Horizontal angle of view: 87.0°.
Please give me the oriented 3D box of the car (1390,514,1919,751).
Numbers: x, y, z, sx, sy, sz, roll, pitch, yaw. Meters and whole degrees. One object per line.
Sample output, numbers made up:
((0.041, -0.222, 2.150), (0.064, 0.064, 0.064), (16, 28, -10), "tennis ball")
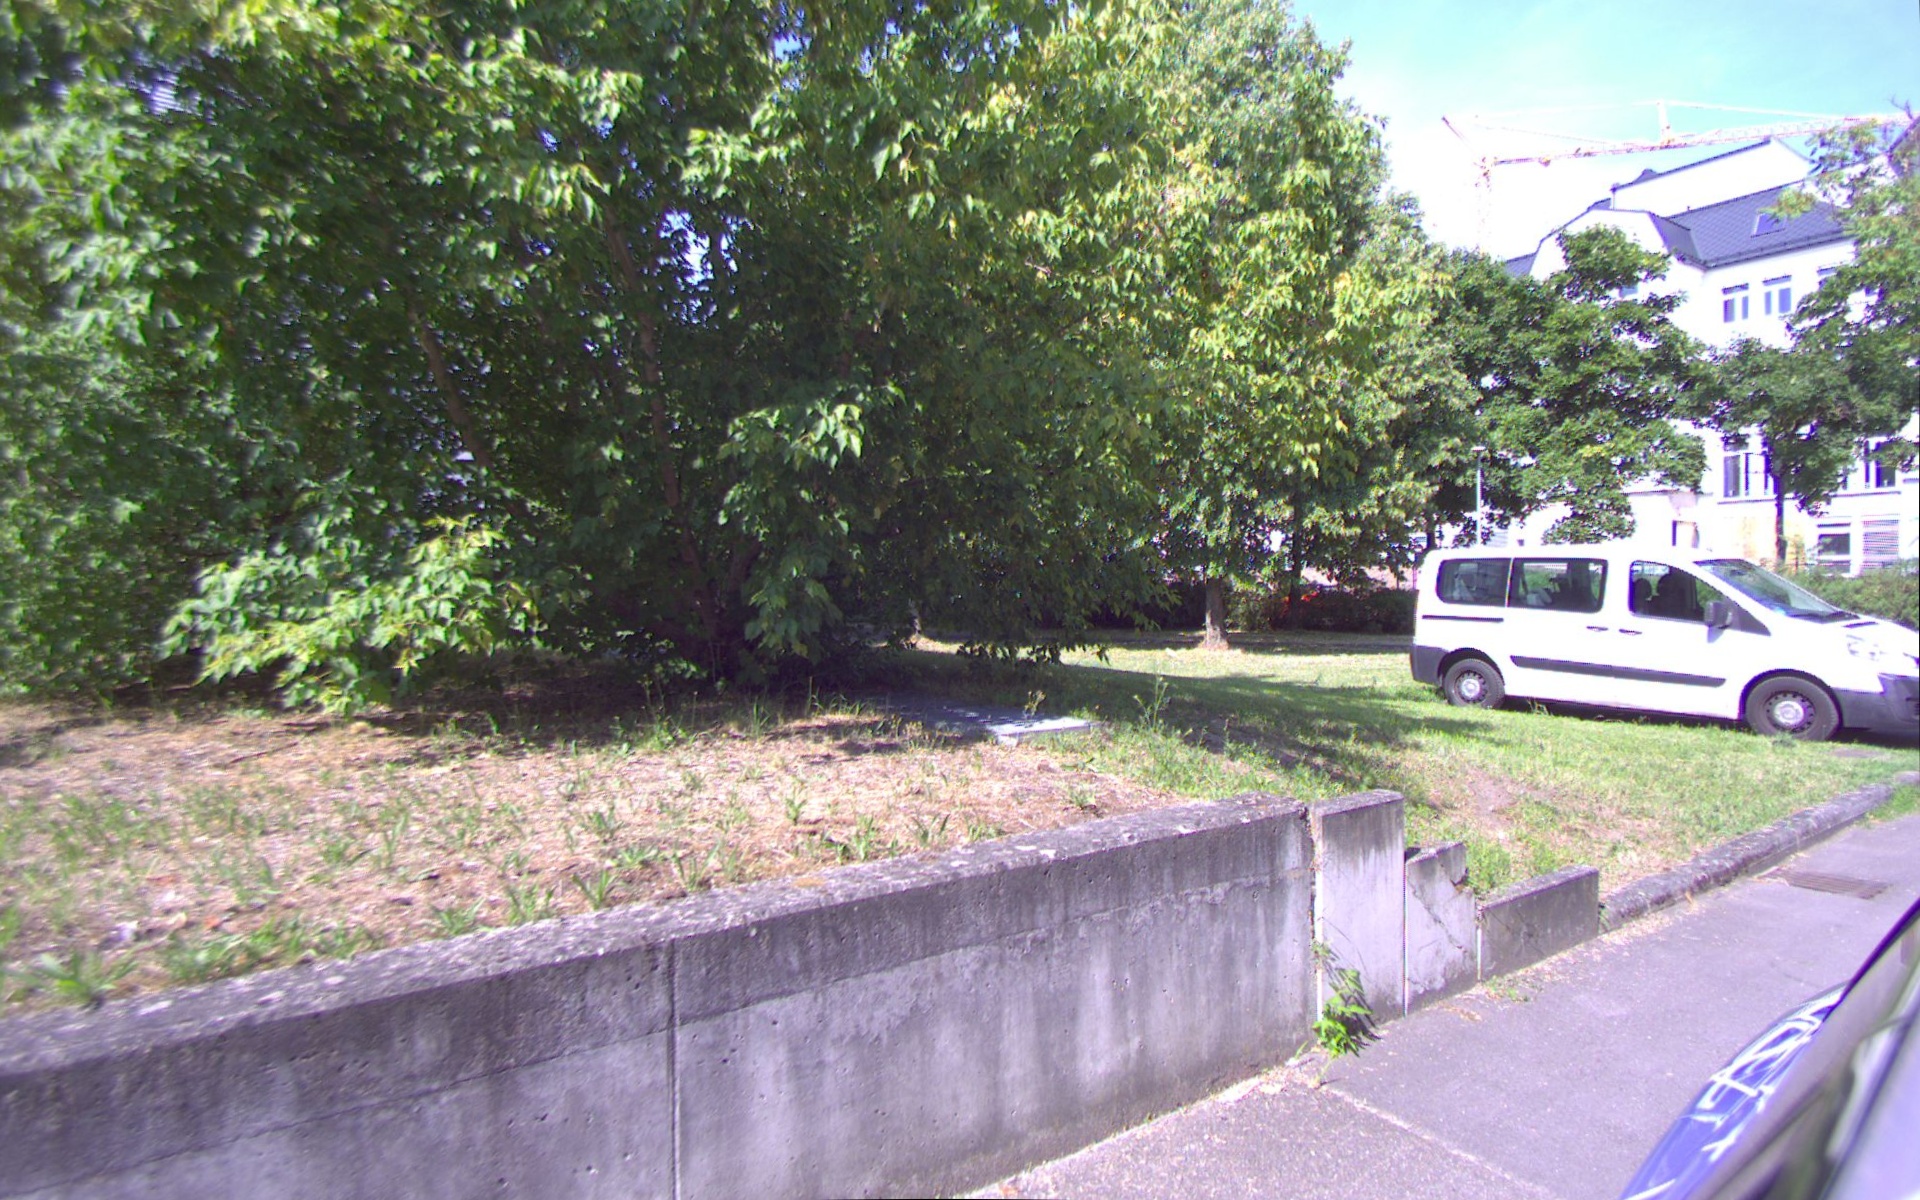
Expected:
((7.481, 0.242, 10.905), (1.961, 1.957, 5.043), (0, 0, -32), "car")
